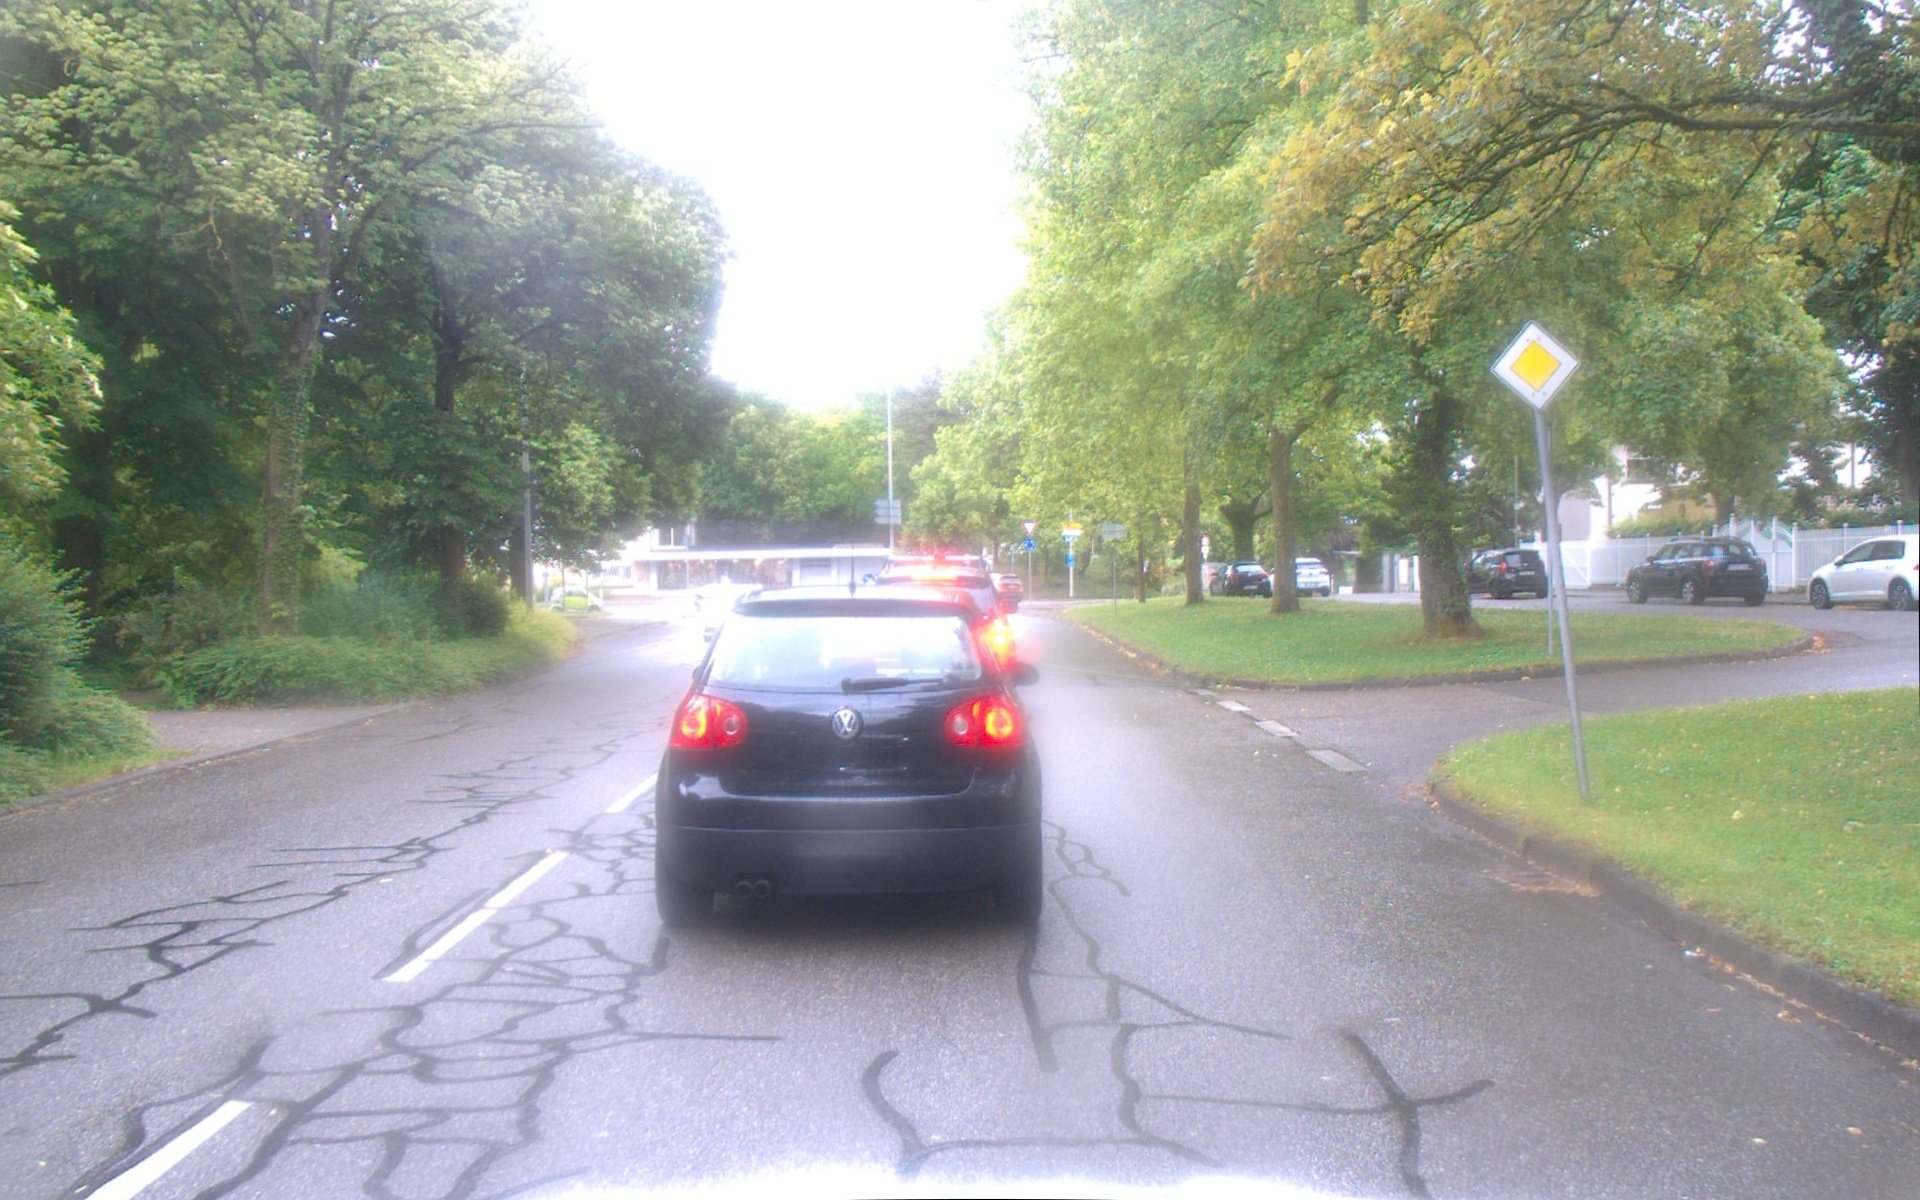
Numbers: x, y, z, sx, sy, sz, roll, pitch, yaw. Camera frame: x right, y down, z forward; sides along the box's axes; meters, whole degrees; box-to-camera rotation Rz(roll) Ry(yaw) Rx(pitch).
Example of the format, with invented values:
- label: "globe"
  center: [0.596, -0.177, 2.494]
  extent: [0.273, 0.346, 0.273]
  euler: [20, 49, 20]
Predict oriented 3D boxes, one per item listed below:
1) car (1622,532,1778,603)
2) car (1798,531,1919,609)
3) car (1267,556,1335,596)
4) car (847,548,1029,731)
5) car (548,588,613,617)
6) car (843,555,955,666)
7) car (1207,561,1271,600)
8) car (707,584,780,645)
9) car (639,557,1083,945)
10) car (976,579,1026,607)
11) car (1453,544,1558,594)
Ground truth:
- label: "car"
  center: [17.912, -0.799, 40.243]
  extent: [1.766, 1.556, 4.110]
  euler: [-2, 1, -3]
- label: "car"
  center: [18.570, -0.625, 32.767]
  extent: [1.585, 1.434, 4.006]
  euler: [-2, 1, -6]
- label: "car"
  center: [13.376, -0.941, 65.110]
  extent: [1.767, 1.430, 4.000]
  euler: [-3, 1, -1]
- label: "car"
  center: [-0.225, 0.371, 18.800]
  extent: [1.817, 1.816, 4.000]
  euler: [-1, 1, 0]
- label: "car"
  center: [-18.829, 0.117, 82.088]
  extent: [3.066, 1.333, 1.535]
  euler: [-2, 0, -13]
- label: "car"
  center: [-1.026, 0.171, 29.594]
  extent: [1.817, 1.816, 4.000]
  euler: [-1, 0, 0]
- label: "car"
  center: [10.934, -0.785, 65.009]
  extent: [1.767, 1.409, 4.000]
  euler: [-3, 1, -1]
- label: "car"
  center: [-5.748, 0.353, 44.261]
  extent: [1.576, 1.452, 4.006]
  euler: [-2, 2, -3]
- label: "car"
  center: [-0.395, 0.598, 8.459]
  extent: [1.762, 1.542, 3.753]
  euler: [0, 0, 0]
- label: "car"
  center: [2.347, -0.371, 95.209]
  extent: [1.681, 1.539, 3.653]
  euler: [-2, 0, -19]
- label: "car"
  center: [17.220, -0.995, 52.412]
  extent: [1.766, 1.436, 4.110]
  euler: [-2, 1, -3]
